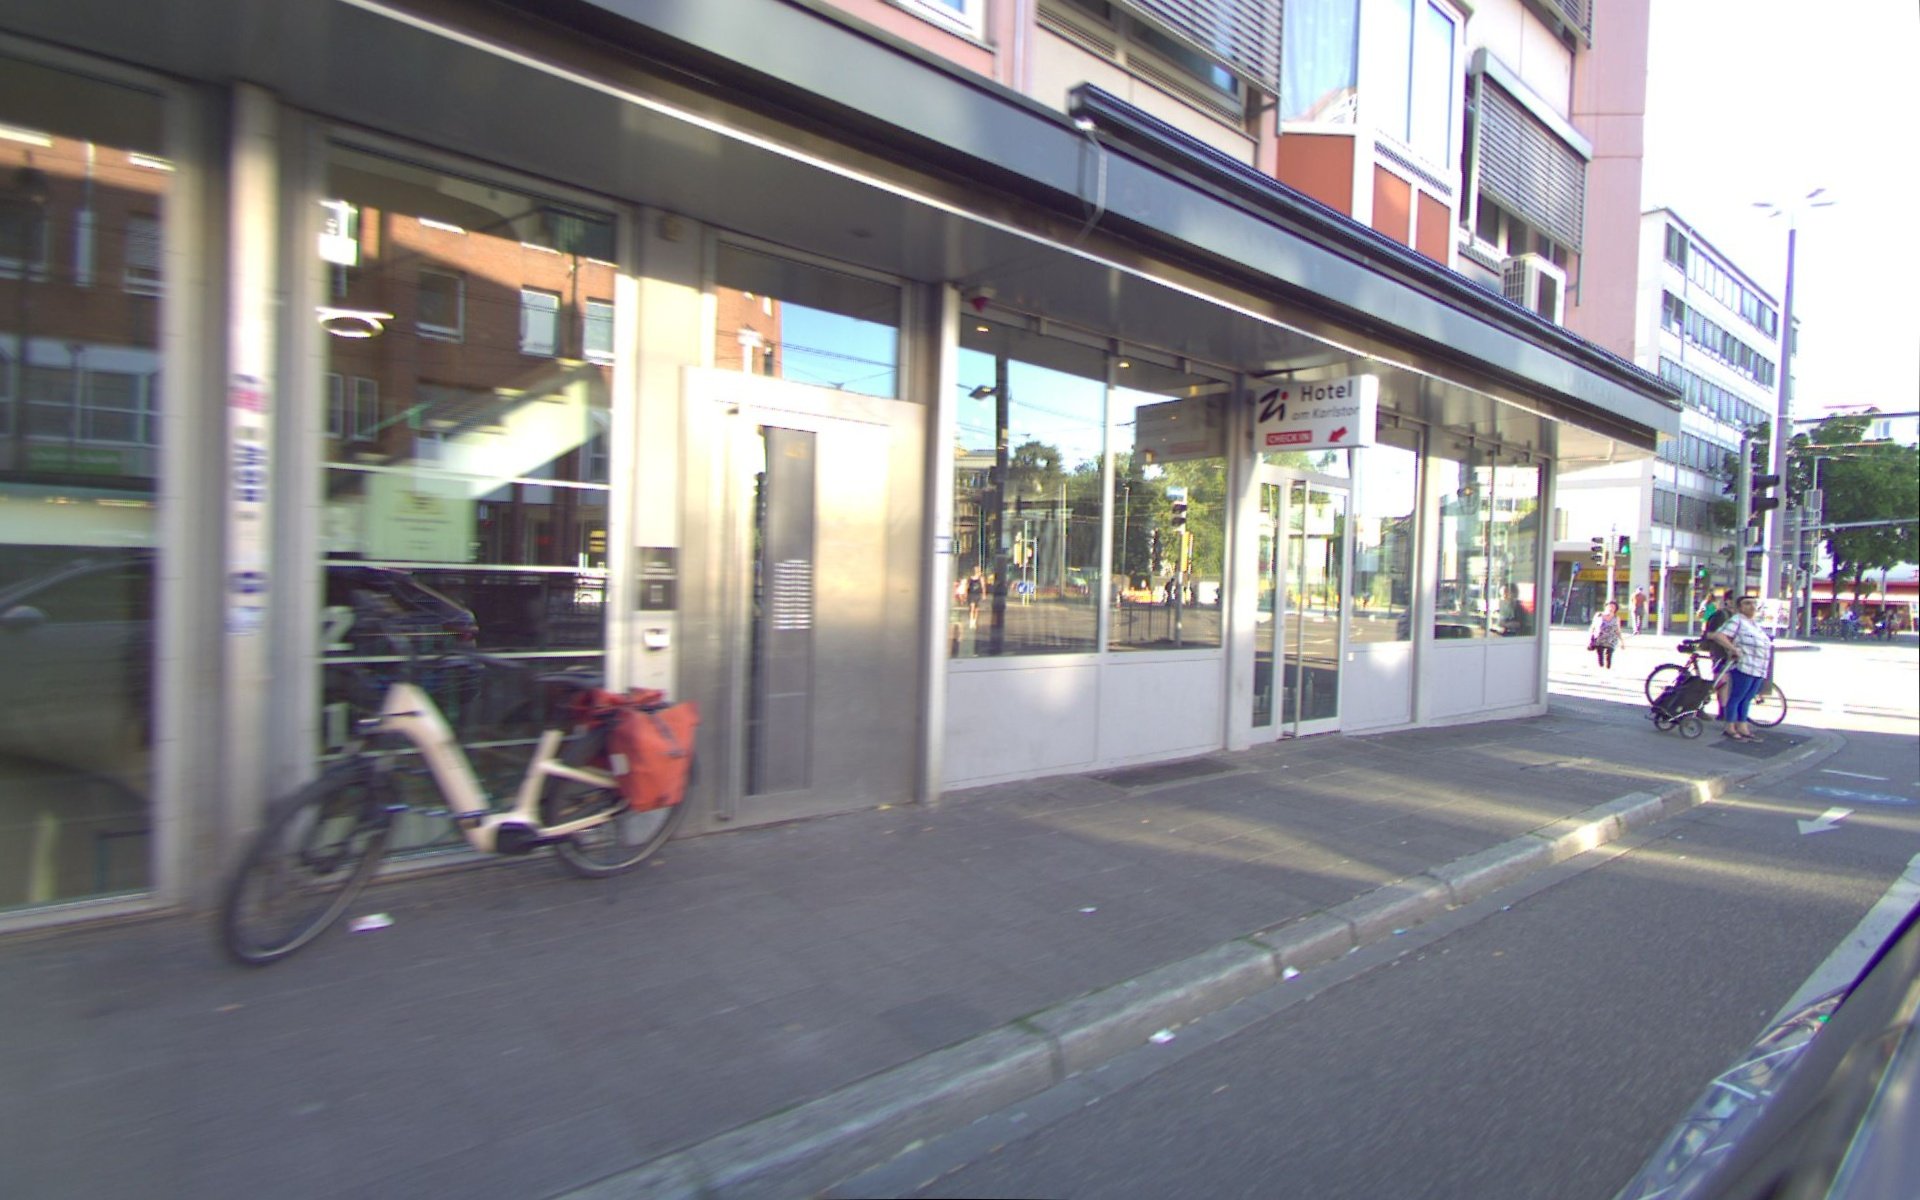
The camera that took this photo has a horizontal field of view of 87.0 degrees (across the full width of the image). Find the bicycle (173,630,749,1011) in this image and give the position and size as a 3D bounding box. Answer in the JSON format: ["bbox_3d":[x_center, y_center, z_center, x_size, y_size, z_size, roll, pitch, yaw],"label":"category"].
[{"bbox_3d":[-1.788,0.677,3.822,1.812,0.987,0.677,0,7,-44],"label":"bicycle"}]

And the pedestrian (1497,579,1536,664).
[{"bbox_3d":[12.100,0.445,22.016,0.648,1.790,0.805,2,1,28],"label":"pedestrian"}]

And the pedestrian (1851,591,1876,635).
[{"bbox_3d":[42.730,0.595,47.852,0.743,2.039,1.057,-1,-1,36],"label":"pedestrian"}]

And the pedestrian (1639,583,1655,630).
[{"bbox_3d":[25.574,0.244,37.666,0.402,1.740,0.391,-1,-1,25],"label":"pedestrian"}]

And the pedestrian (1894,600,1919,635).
[{"bbox_3d":[47.231,0.861,50.500,1.035,1.731,0.858,0,0,-45],"label":"pedestrian"}]

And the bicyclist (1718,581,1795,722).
[{"bbox_3d":[10.100,0.623,12.834,0.756,1.699,0.636,0,1,-44],"label":"bicyclist"}]

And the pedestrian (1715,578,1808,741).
[{"bbox_3d":[8.885,0.625,11.214,0.635,1.681,0.758,7,5,40],"label":"pedestrian"}]

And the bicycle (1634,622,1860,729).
[{"bbox_3d":[10.005,0.909,12.940,0.756,1.137,2.172,0,2,-44],"label":"bicycle"}]

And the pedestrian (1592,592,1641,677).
[{"bbox_3d":[12.521,0.640,19.292,0.688,1.554,0.605,3,1,39],"label":"pedestrian"}]

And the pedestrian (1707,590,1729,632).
[{"bbox_3d":[26.403,0.377,35.240,0.594,1.461,0.605,-1,-1,38],"label":"pedestrian"}]
